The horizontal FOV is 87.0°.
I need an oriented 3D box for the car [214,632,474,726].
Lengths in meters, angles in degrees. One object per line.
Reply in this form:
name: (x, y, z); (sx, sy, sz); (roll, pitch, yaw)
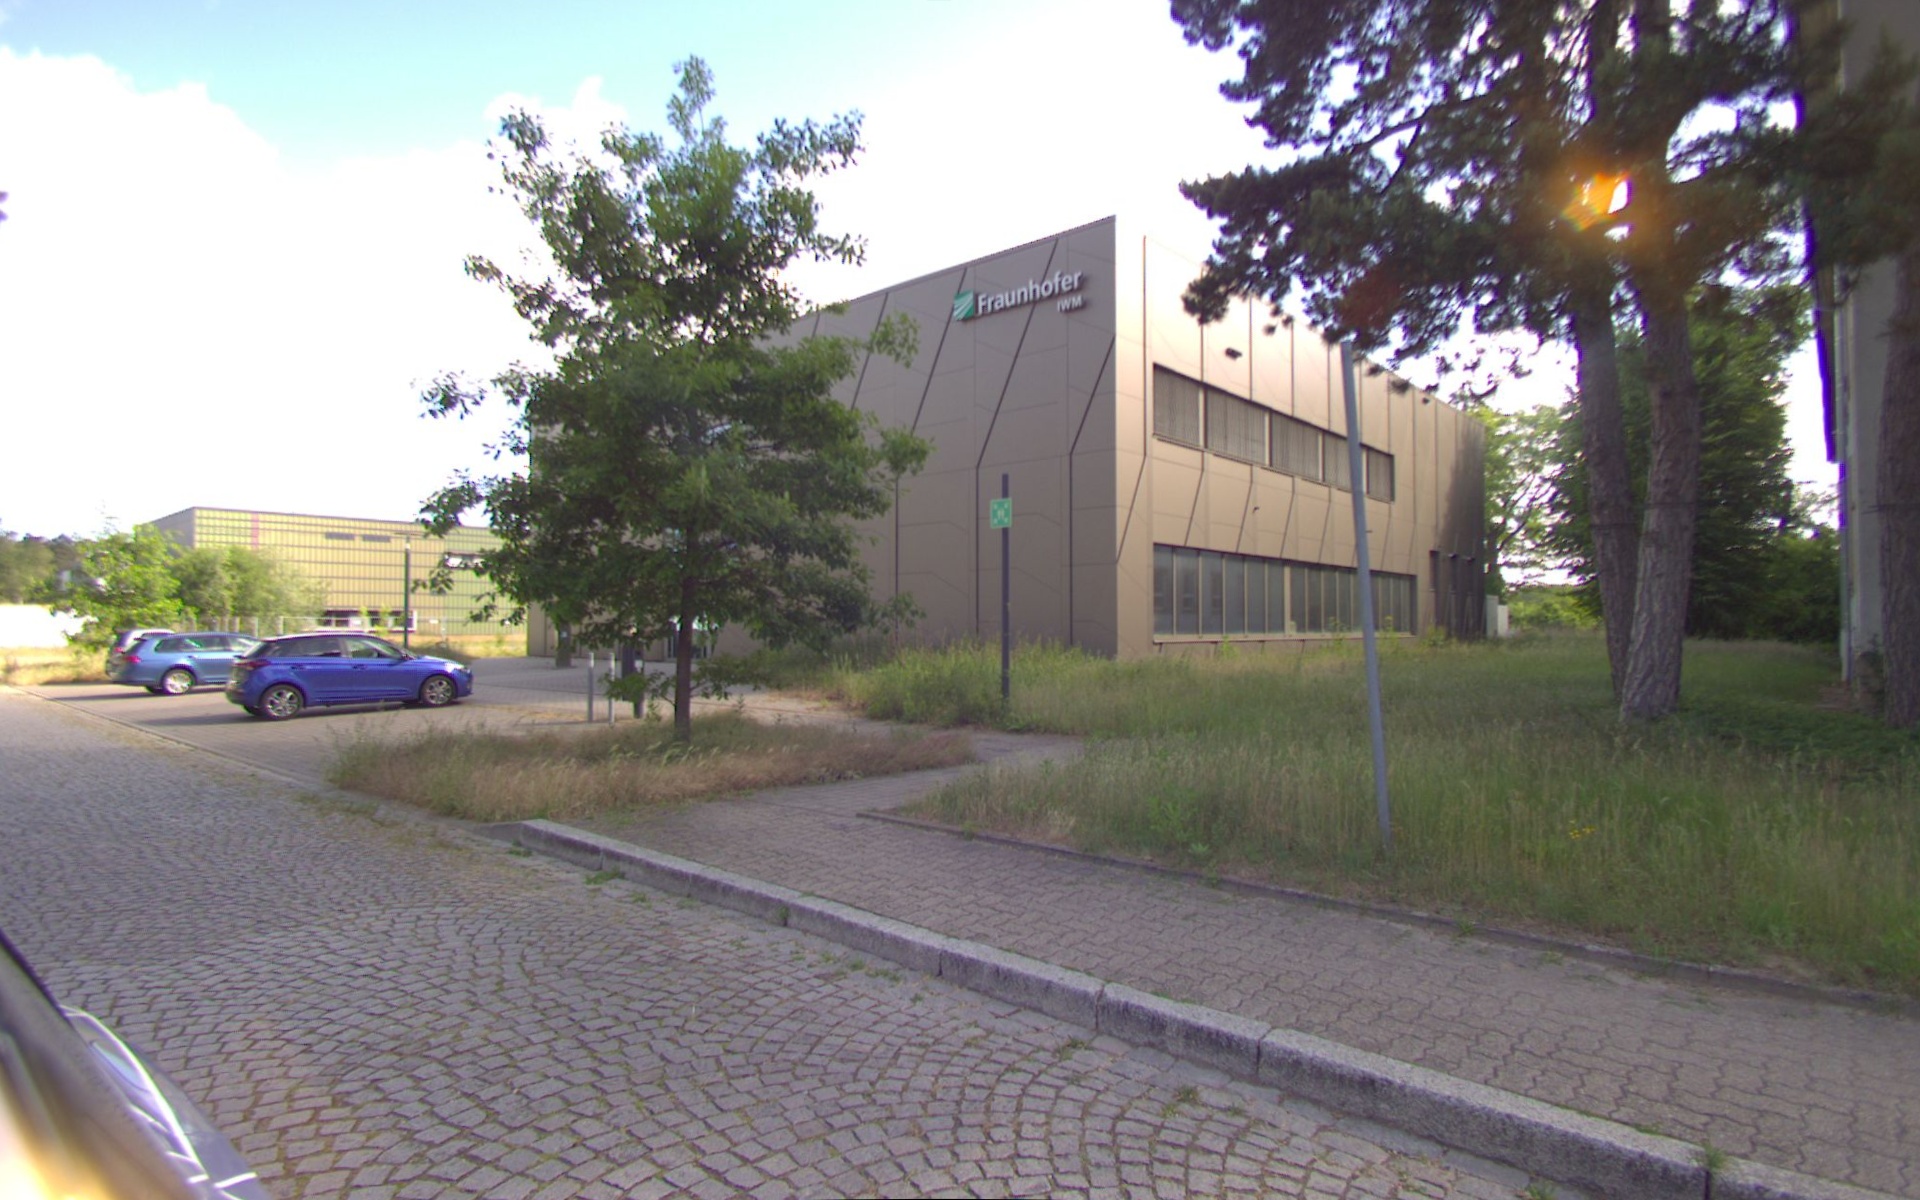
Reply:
car: (-11.452, 1.388, 18.977); (1.735, 1.479, 3.865); (-2, -1, 44)

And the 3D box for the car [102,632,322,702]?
car: (-18.561, 1.599, 25.257); (1.733, 1.485, 4.127); (-2, -1, 39)

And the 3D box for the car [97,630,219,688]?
car: (-23.946, 1.734, 30.264); (1.480, 1.580, 2.619); (-2, -1, 40)
